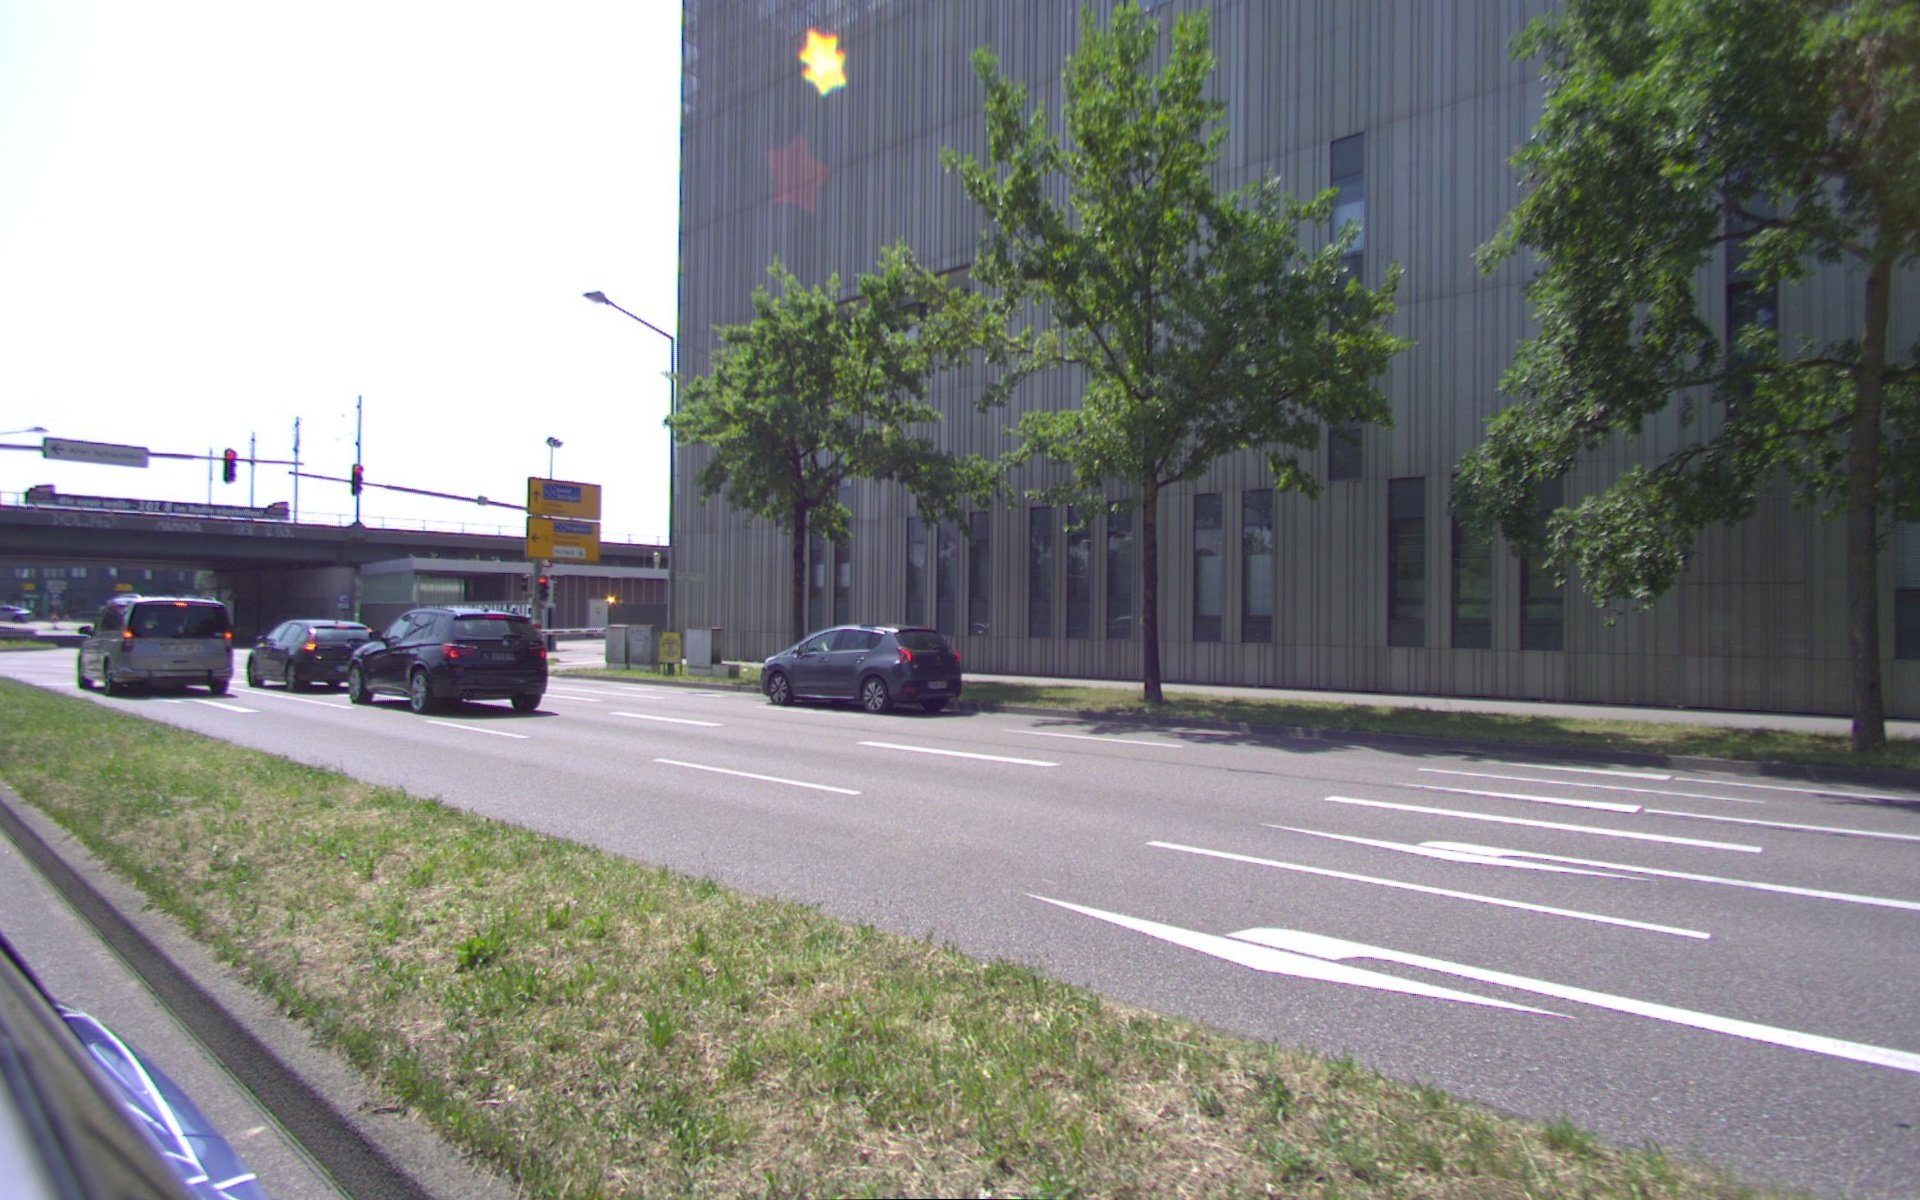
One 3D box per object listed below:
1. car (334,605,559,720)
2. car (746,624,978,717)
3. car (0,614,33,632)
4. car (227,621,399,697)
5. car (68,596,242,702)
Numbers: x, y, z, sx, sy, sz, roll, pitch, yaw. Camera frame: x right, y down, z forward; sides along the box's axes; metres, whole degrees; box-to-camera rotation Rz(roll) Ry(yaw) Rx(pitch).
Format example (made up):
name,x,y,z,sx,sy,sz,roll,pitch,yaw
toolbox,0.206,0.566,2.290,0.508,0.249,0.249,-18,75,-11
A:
name,x,y,z,sx,sy,sz,roll,pitch,yaw
car,-8.729,0.979,17.034,4.571,1.676,1.783,-1,-3,41
car,-1.924,1.244,19.092,4.365,1.555,1.792,-1,-3,39
car,-88.539,2.120,93.527,3.932,1.697,2.006,1,-2,-32
car,-13.785,1.186,21.483,4.246,1.457,1.792,-1,-3,39
car,-15.673,0.925,19.608,4.712,1.815,1.791,-1,-4,42
